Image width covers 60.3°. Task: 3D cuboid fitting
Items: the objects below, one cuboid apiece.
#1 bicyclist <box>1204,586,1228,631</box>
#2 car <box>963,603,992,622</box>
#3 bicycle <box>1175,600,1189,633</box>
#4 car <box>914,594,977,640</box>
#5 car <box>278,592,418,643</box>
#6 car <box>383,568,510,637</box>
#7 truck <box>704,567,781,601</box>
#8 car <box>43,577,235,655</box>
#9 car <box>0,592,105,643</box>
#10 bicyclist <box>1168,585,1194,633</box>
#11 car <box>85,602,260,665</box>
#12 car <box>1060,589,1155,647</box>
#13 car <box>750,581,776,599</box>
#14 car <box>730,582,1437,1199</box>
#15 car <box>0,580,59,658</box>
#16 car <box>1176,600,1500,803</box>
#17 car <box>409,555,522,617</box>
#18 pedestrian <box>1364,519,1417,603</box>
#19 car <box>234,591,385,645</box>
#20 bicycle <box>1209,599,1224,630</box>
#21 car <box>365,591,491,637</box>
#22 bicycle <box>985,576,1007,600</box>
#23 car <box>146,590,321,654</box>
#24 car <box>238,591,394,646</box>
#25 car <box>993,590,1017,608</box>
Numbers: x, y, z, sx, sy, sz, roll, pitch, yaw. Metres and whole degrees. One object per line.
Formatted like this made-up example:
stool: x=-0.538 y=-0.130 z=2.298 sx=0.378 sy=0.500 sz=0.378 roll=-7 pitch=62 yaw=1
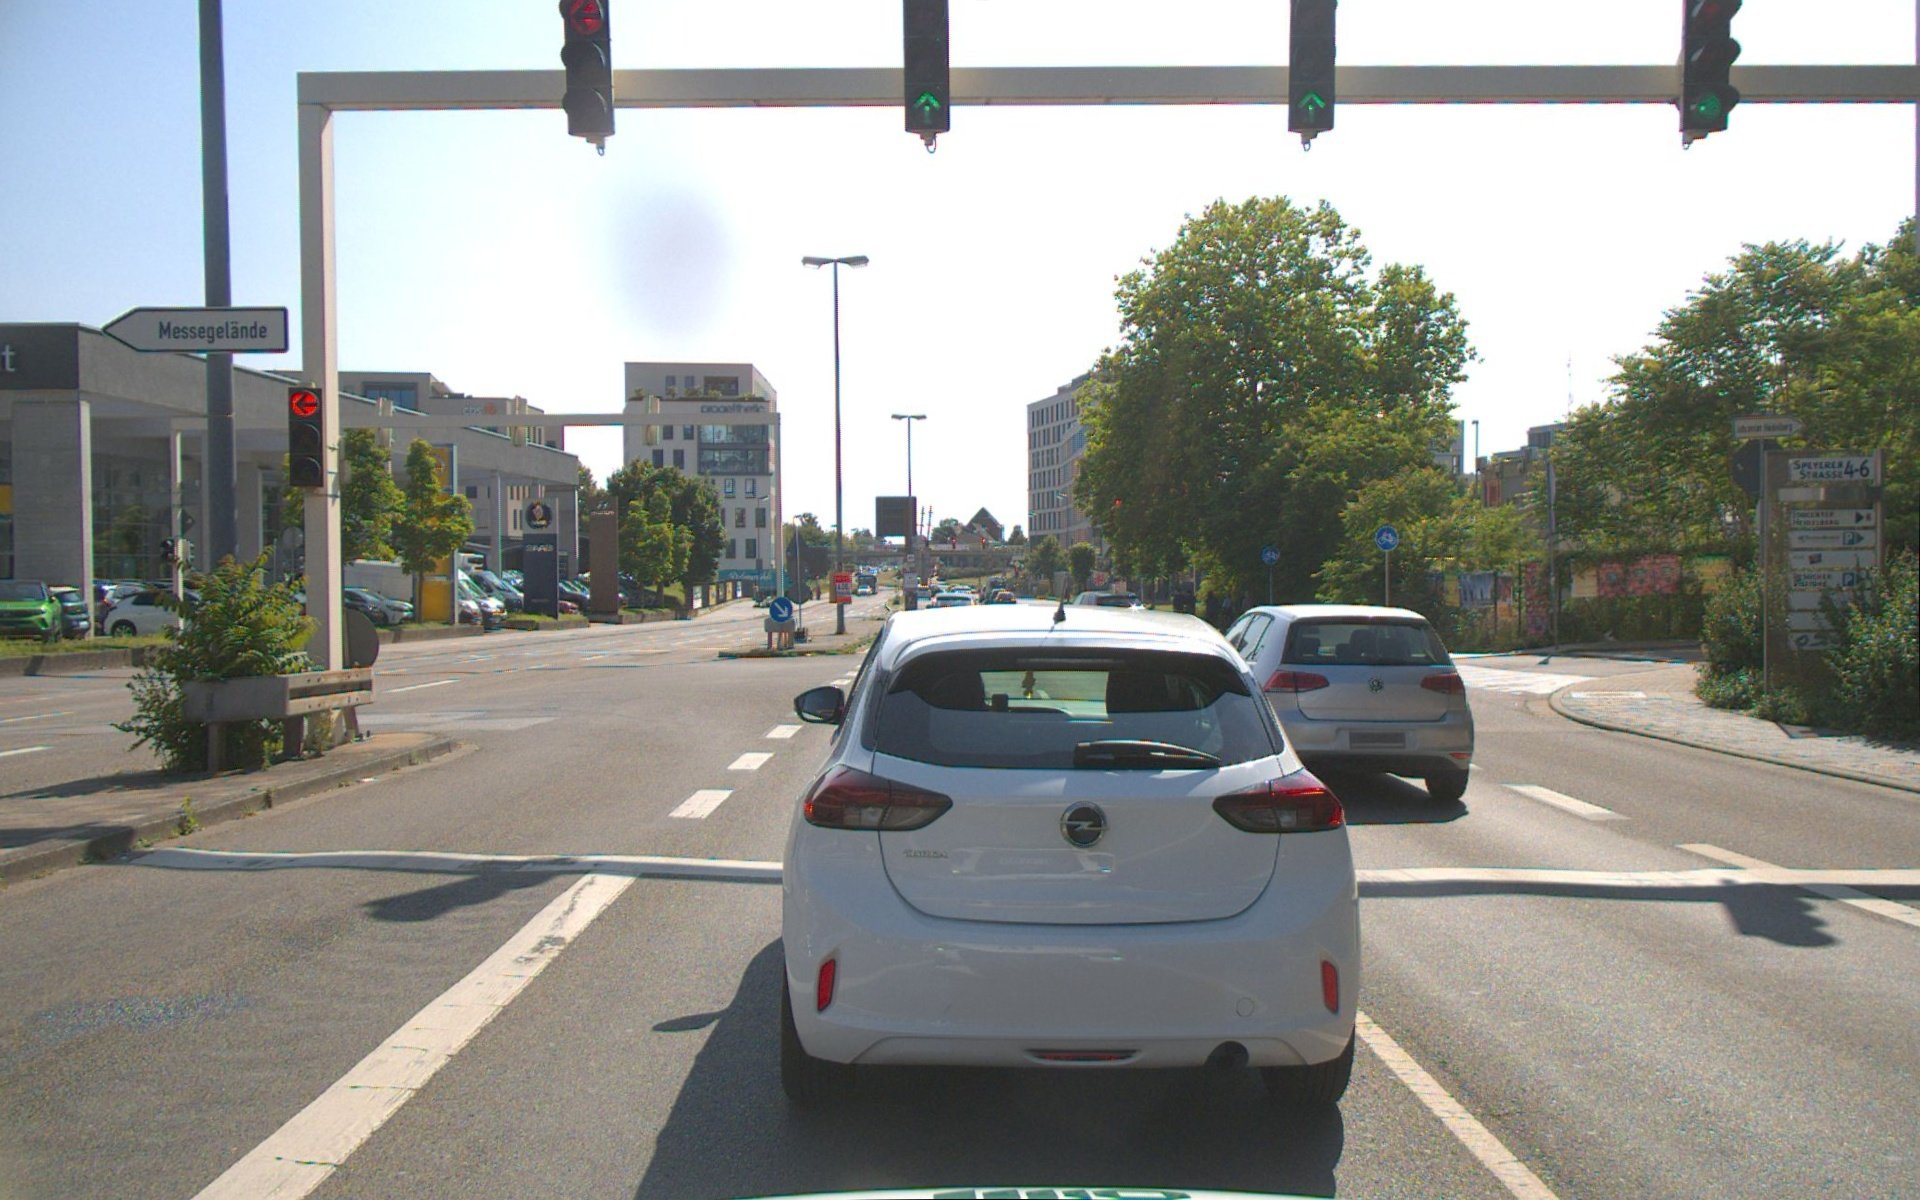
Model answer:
bicyclist: x=9.642 y=0.304 z=62.297 sx=0.675 sy=1.672 sz=0.775 roll=0 pitch=0 yaw=-9
car: x=1.278 y=0.925 z=124.703 sx=1.954 sy=1.355 sz=3.997 roll=1 pitch=-1 yaw=-3
bicycle: x=8.448 y=0.617 z=62.879 sx=0.365 sy=1.238 sz=1.153 roll=1 pitch=0 yaw=0
car: x=-0.525 y=0.539 z=55.261 sx=1.953 sy=1.472 sz=4.369 roll=0 pitch=0 yaw=-2
car: x=-21.740 y=0.595 z=58.887 sx=4.270 sy=1.726 sz=1.999 roll=-1 pitch=0 yaw=-3
car: x=-20.800 y=0.103 z=67.077 sx=4.401 sy=2.731 sz=2.130 roll=0 pitch=0 yaw=8
truck: x=-25.994 y=-1.942 z=197.553 sx=8.897 sy=3.901 sz=3.073 roll=-1 pitch=0 yaw=-11
car: x=-20.536 y=0.377 z=41.505 sx=3.793 sy=1.870 sz=1.999 roll=-1 pitch=0 yaw=-3
car: x=-26.032 y=0.505 z=45.219 sx=4.276 sy=1.290 sz=1.996 roll=-2 pitch=-1 yaw=-9
bicyclist: x=8.401 y=0.348 z=62.882 sx=0.861 sy=1.803 sz=0.863 roll=0 pitch=0 yaw=-1
car: x=-21.656 y=0.905 z=45.613 sx=3.912 sy=1.627 sz=1.997 roll=-1 pitch=0 yaw=-8
car: x=4.196 y=0.483 z=47.746 sx=1.955 sy=1.578 sz=4.428 roll=-1 pitch=0 yaw=-6
car: x=-16.909 y=-0.867 z=141.766 sx=1.769 sy=1.410 sz=3.999 roll=1 pitch=-1 yaw=-1
car: x=0.285 y=0.715 z=6.098 sx=1.743 sy=1.520 sz=3.999 roll=0 pitch=0 yaw=-1
car: x=-22.361 y=0.468 z=38.621 sx=1.887 sy=1.764 sz=3.250 roll=-1 pitch=-1 yaw=-37
car: x=3.006 y=0.742 z=13.998 sx=1.770 sy=1.454 sz=3.999 roll=0 pitch=0 yaw=-1
car: x=-21.619 y=-0.622 z=72.382 sx=4.265 sy=2.646 sz=2.001 roll=0 pitch=0 yaw=4
pedestrian: x=10.673 y=-0.953 z=41.053 sx=1.006 sy=2.049 sz=1.038 roll=0 pitch=0 yaw=-1
car: x=-21.830 y=0.576 z=55.647 sx=4.270 sy=1.726 sz=1.999 roll=-1 pitch=0 yaw=-3
bicycle: x=9.657 y=0.552 z=62.291 sx=0.366 sy=1.167 sz=1.034 roll=1 pitch=-1 yaw=-3
car: x=-20.740 y=0.521 z=64.629 sx=4.267 sy=1.726 sz=2.000 roll=-1 pitch=0 yaw=0
bicycle: x=3.388 y=-1.116 z=155.181 sx=1.953 sy=2.195 sz=3.999 roll=0 pitch=0 yaw=-1
car: x=-21.141 y=0.618 z=48.292 sx=4.211 sy=1.796 sz=1.999 roll=-1 pitch=0 yaw=-3
car: x=-20.745 y=0.584 z=53.433 sx=4.269 sy=1.726 sz=1.999 roll=0 pitch=0 yaw=-3
car: x=3.644 y=-0.094 z=134.862 sx=1.769 sy=1.410 sz=3.999 roll=1 pitch=-1 yaw=-1
